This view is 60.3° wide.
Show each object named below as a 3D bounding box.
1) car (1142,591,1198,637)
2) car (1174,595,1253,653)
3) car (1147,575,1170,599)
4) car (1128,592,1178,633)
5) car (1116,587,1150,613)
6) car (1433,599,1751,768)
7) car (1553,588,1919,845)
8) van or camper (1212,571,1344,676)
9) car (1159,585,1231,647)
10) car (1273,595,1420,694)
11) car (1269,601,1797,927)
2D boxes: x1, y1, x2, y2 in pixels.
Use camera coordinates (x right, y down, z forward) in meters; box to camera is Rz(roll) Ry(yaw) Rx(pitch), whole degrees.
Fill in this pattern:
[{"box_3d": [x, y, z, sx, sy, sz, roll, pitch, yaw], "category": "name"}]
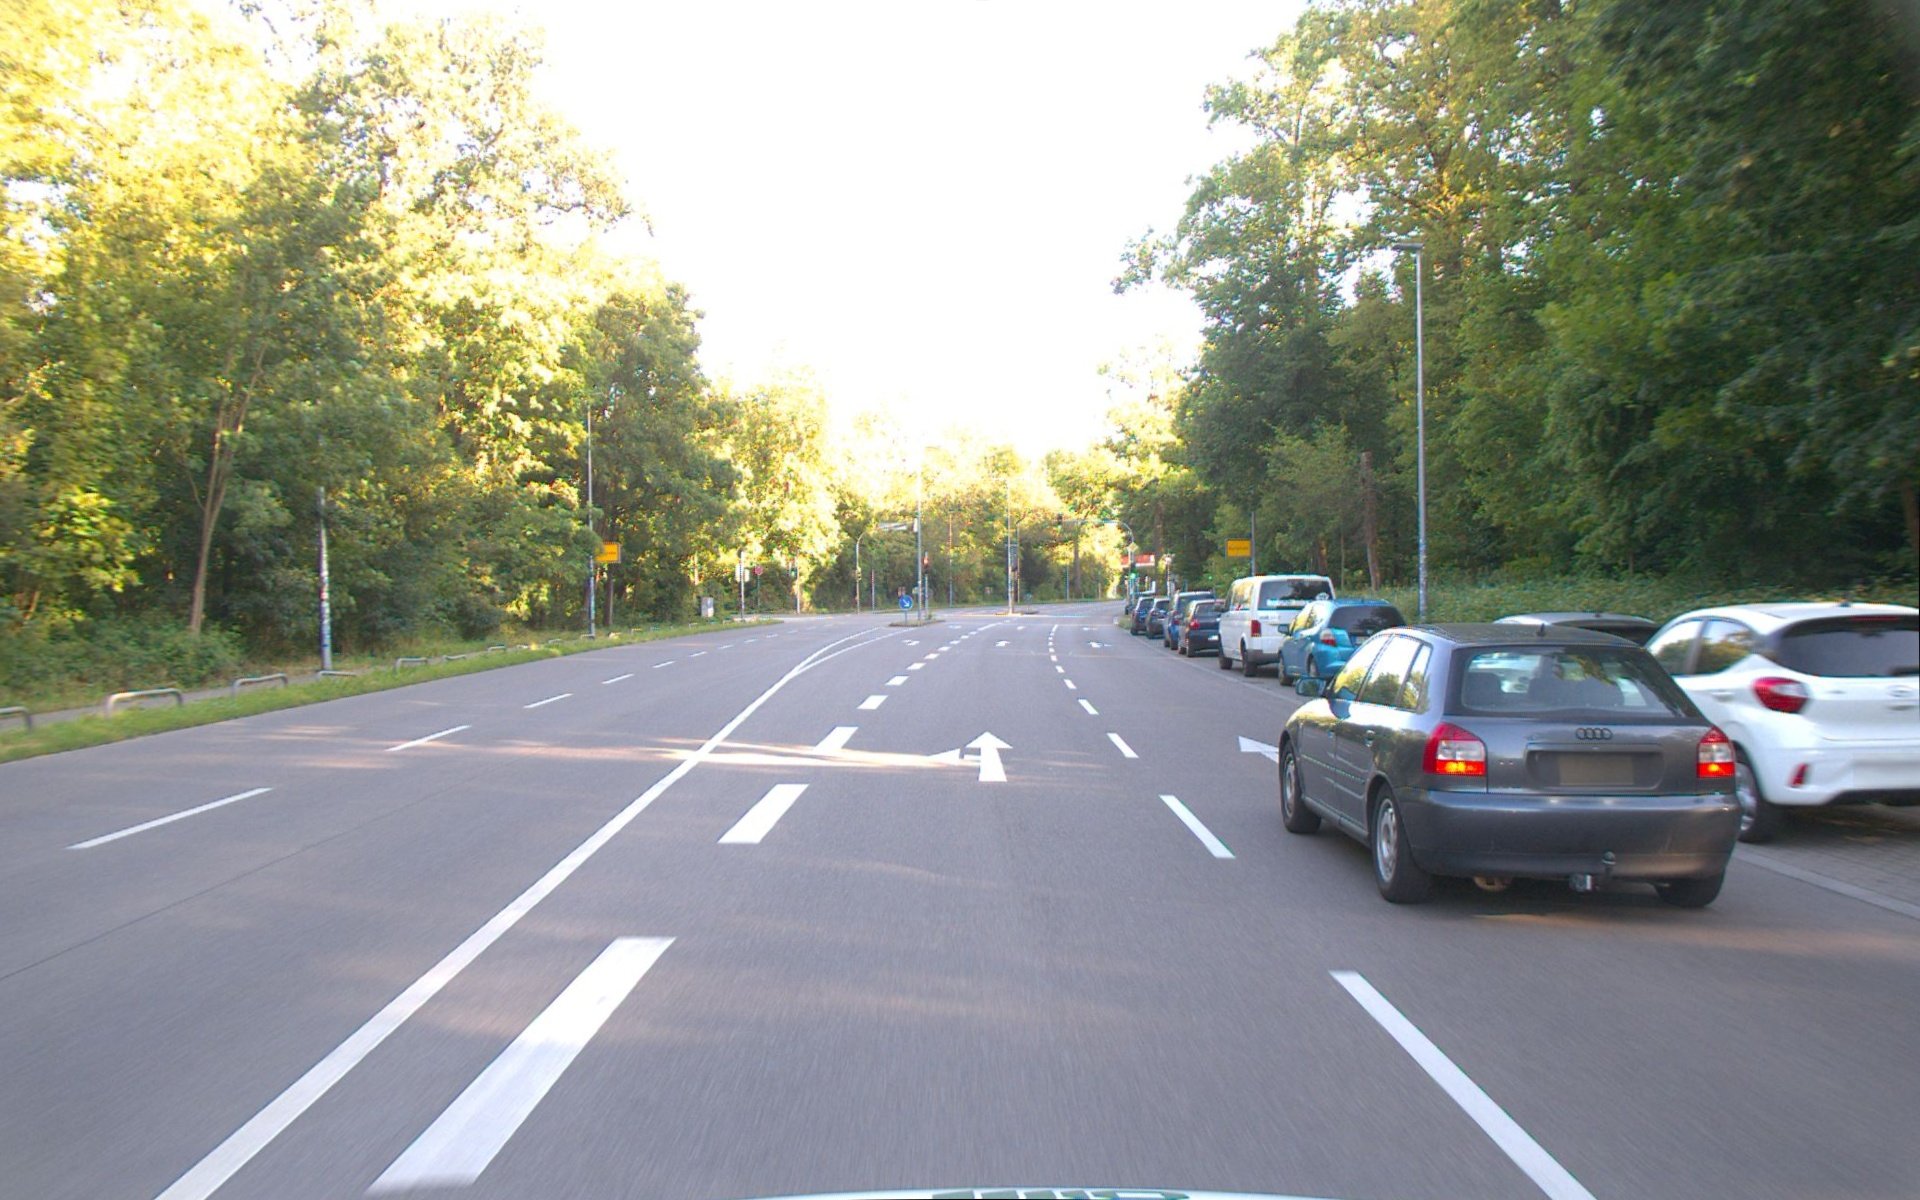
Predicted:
[{"box_3d": [7.604, 0.479, 60.235, 1.691, 1.516, 4.092, -2, 0, 3], "category": "car"}, {"box_3d": [6.709, 0.595, 44.060, 1.616, 1.467, 4.114, 0, 0, 2], "category": "car"}, {"box_3d": [20.132, -1.339, 167.915, 2.259, 2.376, 4.563, 0, 0, 7], "category": "car"}, {"box_3d": [7.634, 0.470, 65.738, 1.691, 1.487, 4.169, -2, 0, 3], "category": "car"}, {"box_3d": [11.766, 0.004, 112.945, 1.952, 1.646, 4.001, -4, 0, 2], "category": "car"}, {"box_3d": [6.170, 0.738, 16.665, 1.692, 1.434, 4.090, -1, 0, 1], "category": "car"}, {"box_3d": [5.872, 0.697, 12.071, 1.692, 1.549, 4.090, 0, 0, 1], "category": "car"}, {"box_3d": [6.523, 0.434, 34.500, 1.794, 2.005, 5.342, 0, 0, 1], "category": "van or camper"}, {"box_3d": [6.986, 0.444, 49.506, 1.692, 1.734, 4.091, -2, 0, 2], "category": "car"}, {"box_3d": [6.534, 0.702, 28.334, 1.614, 1.549, 3.866, 0, 0, 0], "category": "car"}, {"box_3d": [3.029, 0.758, 9.679, 1.692, 1.466, 4.090, 0, 0, 0], "category": "car"}]
